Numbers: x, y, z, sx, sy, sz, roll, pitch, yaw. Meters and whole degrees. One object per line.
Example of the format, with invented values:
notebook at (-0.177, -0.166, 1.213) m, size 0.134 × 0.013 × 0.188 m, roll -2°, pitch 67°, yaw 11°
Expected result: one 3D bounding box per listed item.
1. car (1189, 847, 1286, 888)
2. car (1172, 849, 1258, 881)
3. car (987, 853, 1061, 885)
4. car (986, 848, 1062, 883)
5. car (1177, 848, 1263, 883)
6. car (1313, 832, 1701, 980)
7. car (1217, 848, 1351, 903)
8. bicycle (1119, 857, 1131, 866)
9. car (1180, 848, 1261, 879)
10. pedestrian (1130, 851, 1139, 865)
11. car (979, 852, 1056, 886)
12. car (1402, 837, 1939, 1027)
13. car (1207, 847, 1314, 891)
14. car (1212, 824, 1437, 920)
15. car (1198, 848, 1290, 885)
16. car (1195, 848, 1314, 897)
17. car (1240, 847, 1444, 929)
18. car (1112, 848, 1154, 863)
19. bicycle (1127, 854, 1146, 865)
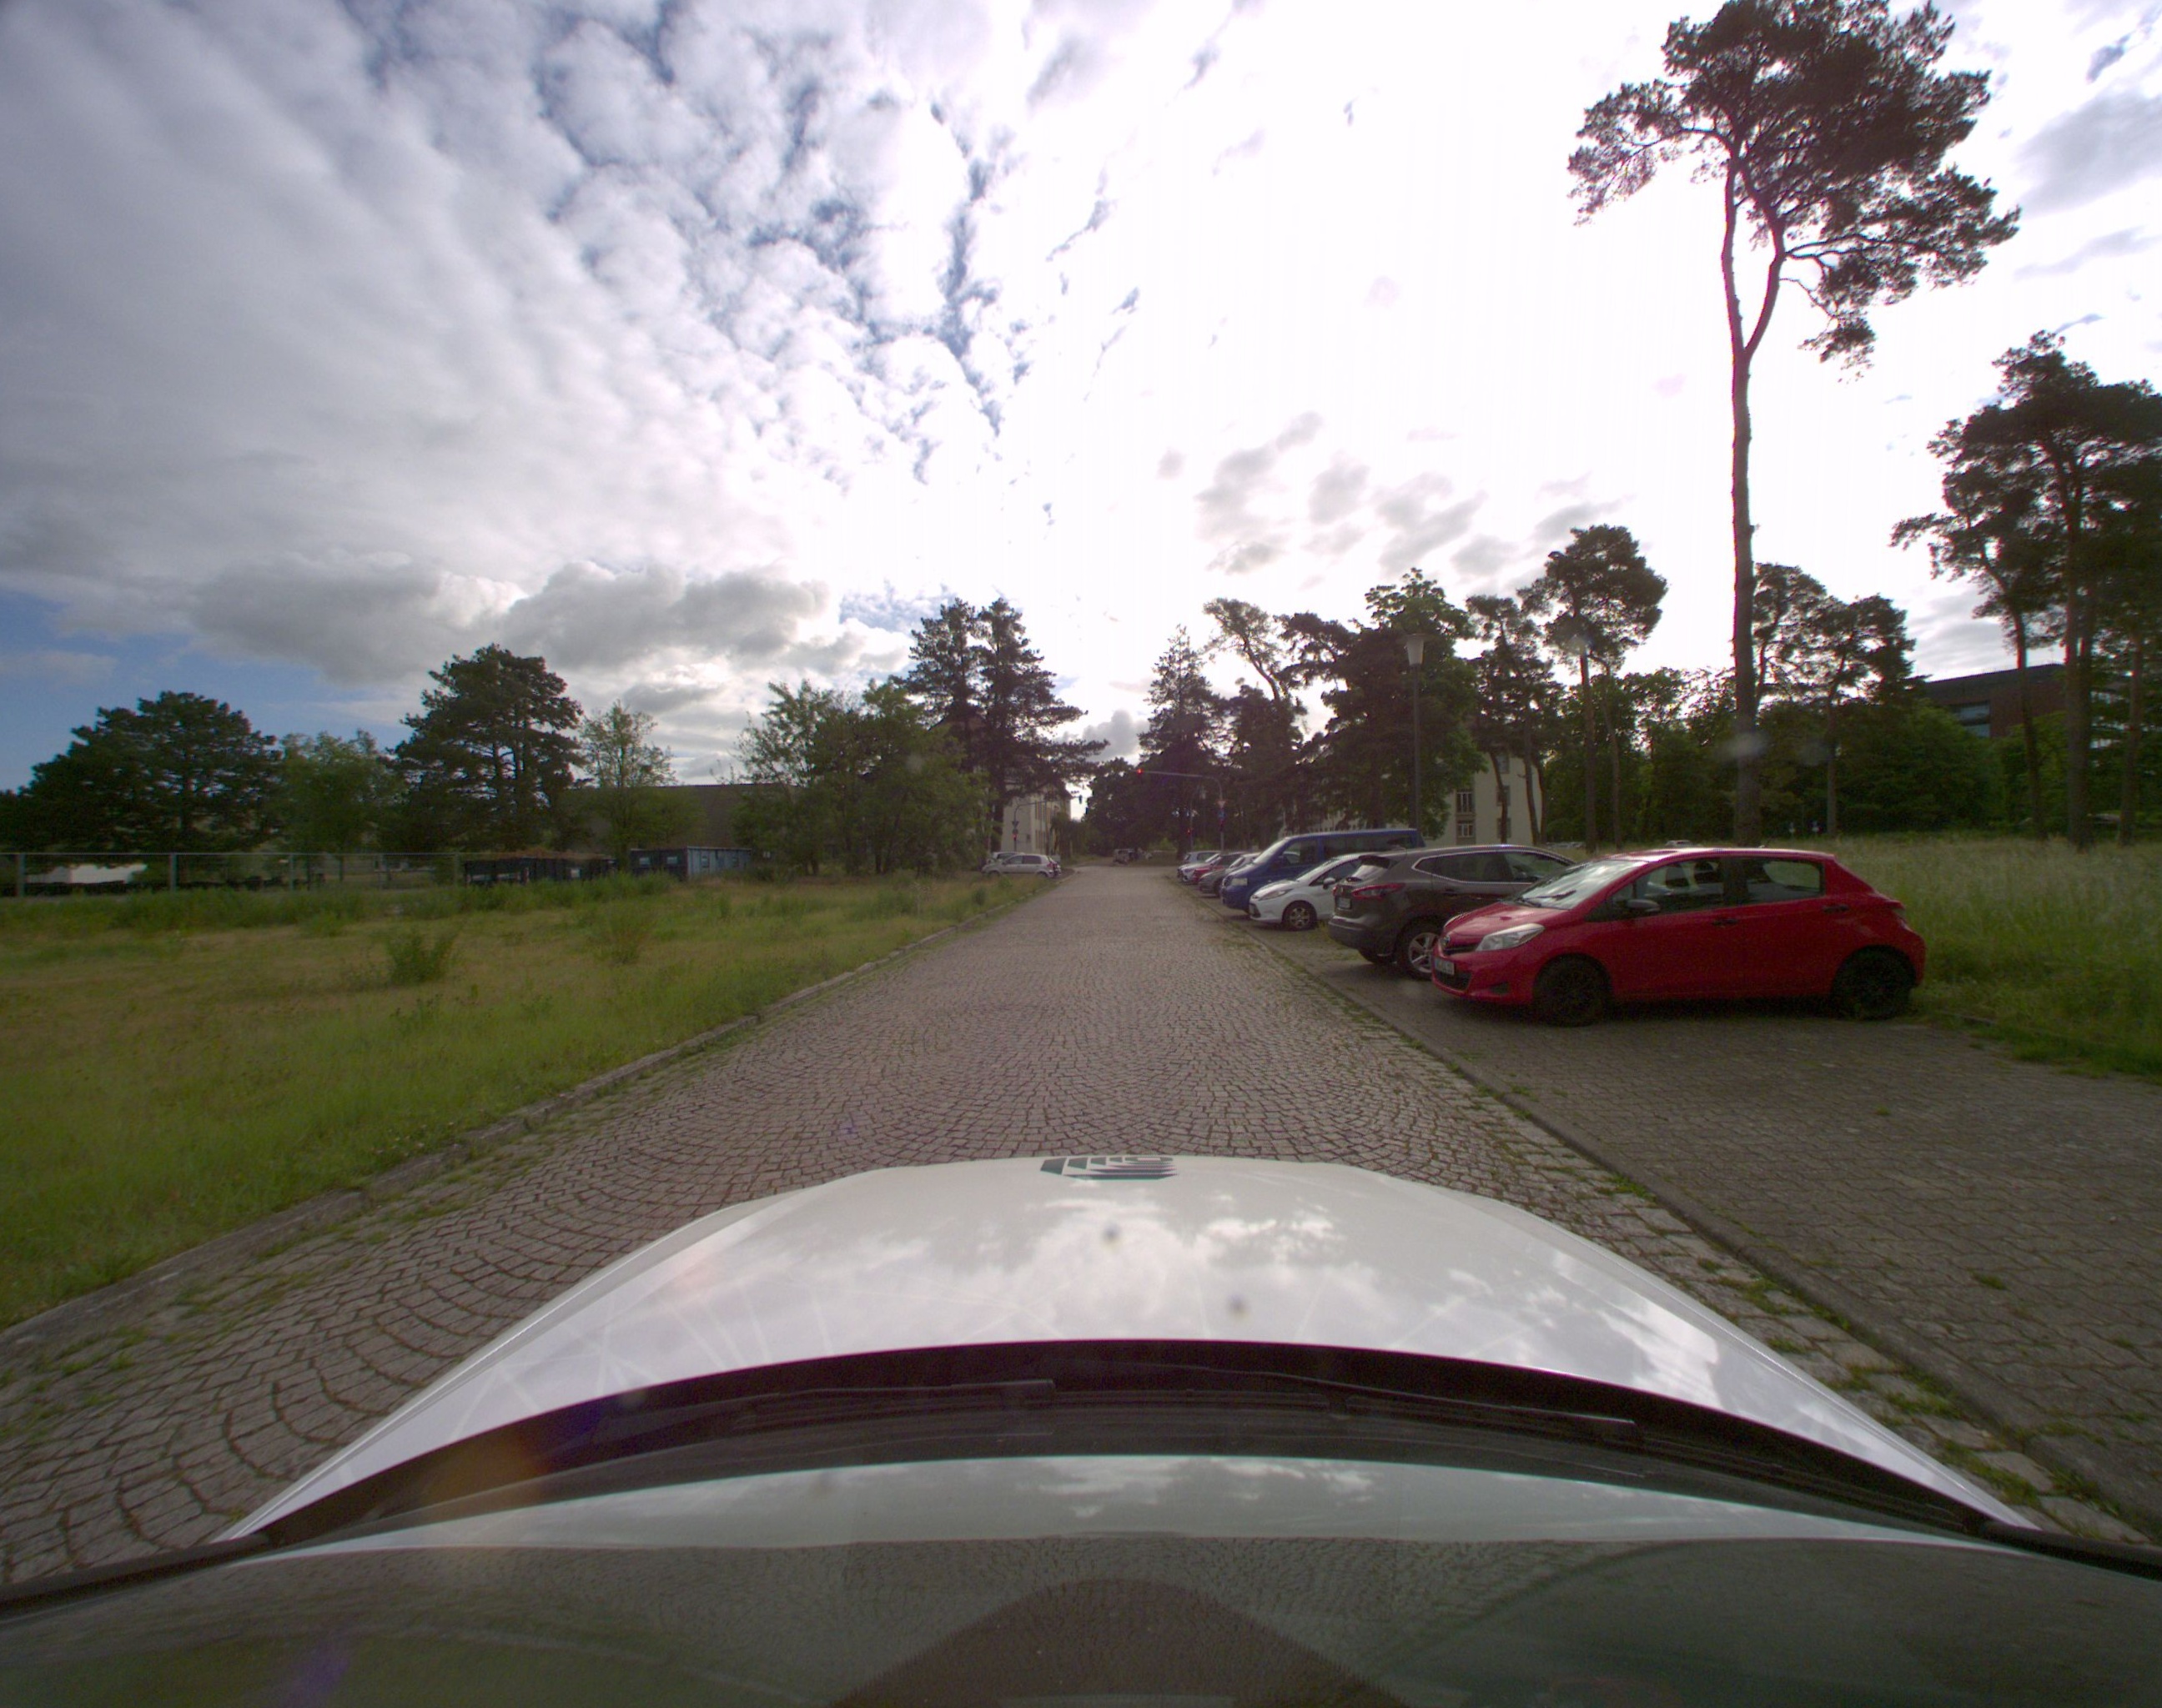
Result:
car at (6.317, 0.544, 33.131) m, size 3.659 × 1.449 × 1.524 m, roll -3°, pitch 0°, yaw 1°
car at (6.640, 0.542, 40.523) m, size 3.957 × 1.421 × 1.619 m, roll -2°, pitch 0°, yaw -2°
car at (-3.119, 0.815, 44.938) m, size 3.807 × 1.572 × 1.565 m, roll -3°, pitch 0°, yaw 2°
car at (-3.312, 0.656, 47.939) m, size 4.246 × 1.840 × 1.745 m, roll -3°, pitch 0°, yaw 2°
car at (6.404, 0.544, 37.673) m, size 3.662 × 1.421 × 1.523 m, roll -2°, pitch 0°, yaw -2°
car at (5.237, 0.610, 10.418) m, size 4.015 × 1.552 × 1.751 m, roll -3°, pitch 0°, yaw 0°
car at (6.071, 0.624, 24.654) m, size 3.659 × 1.449 × 1.524 m, roll -3°, pitch 0°, yaw 1°
bicycle at (4.752, 0.782, 88.190) m, size 0.623 × 0.945 × 1.649 m, roll 0°, pitch 0°, yaw -25°
car at (7.348, 0.507, 43.148) m, size 3.957 × 1.421 × 1.619 m, roll -2°, pitch 0°, yaw -2°
pedestrian at (6.082, 0.463, 92.554) m, size 1.031 × 1.614 × 0.757 m, roll 0°, pitch 0°, yaw -2°
car at (-3.289, 0.782, 42.524) m, size 3.810 × 1.572 × 1.564 m, roll -3°, pitch 0°, yaw -1°
car at (5.299, 0.669, 7.760) m, size 3.776 × 1.460 × 1.752 m, roll -3°, pitch 0°, yaw 2°
car at (6.651, 0.560, 30.407) m, size 3.659 × 1.449 × 1.524 m, roll -3°, pitch 0°, yaw 1°
car at (5.650, 0.410, 19.385) m, size 4.738 × 1.954 × 1.931 m, roll -3°, pitch 0°, yaw 1°
car at (7.024, 0.533, 35.390) m, size 3.659 × 1.449 × 1.524 m, roll -3°, pitch 0°, yaw 1°
car at (5.796, 0.596, 27.450) m, size 3.659 × 1.449 × 1.524 m, roll -3°, pitch 0°, yaw 1°
car at (5.275, 0.672, 16.803) m, size 3.660 × 1.449 × 1.615 m, roll -3°, pitch 0°, yaw 0°
car at (6.977, 0.228, 110.113) m, size 5.439 × 2.013 × 2.264 m, roll 0°, pitch 0°, yaw -7°
bicycle at (6.265, 0.667, 92.202) m, size 2.131 × 1.214 × 0.621 m, roll 0°, pitch 0°, yaw -2°
